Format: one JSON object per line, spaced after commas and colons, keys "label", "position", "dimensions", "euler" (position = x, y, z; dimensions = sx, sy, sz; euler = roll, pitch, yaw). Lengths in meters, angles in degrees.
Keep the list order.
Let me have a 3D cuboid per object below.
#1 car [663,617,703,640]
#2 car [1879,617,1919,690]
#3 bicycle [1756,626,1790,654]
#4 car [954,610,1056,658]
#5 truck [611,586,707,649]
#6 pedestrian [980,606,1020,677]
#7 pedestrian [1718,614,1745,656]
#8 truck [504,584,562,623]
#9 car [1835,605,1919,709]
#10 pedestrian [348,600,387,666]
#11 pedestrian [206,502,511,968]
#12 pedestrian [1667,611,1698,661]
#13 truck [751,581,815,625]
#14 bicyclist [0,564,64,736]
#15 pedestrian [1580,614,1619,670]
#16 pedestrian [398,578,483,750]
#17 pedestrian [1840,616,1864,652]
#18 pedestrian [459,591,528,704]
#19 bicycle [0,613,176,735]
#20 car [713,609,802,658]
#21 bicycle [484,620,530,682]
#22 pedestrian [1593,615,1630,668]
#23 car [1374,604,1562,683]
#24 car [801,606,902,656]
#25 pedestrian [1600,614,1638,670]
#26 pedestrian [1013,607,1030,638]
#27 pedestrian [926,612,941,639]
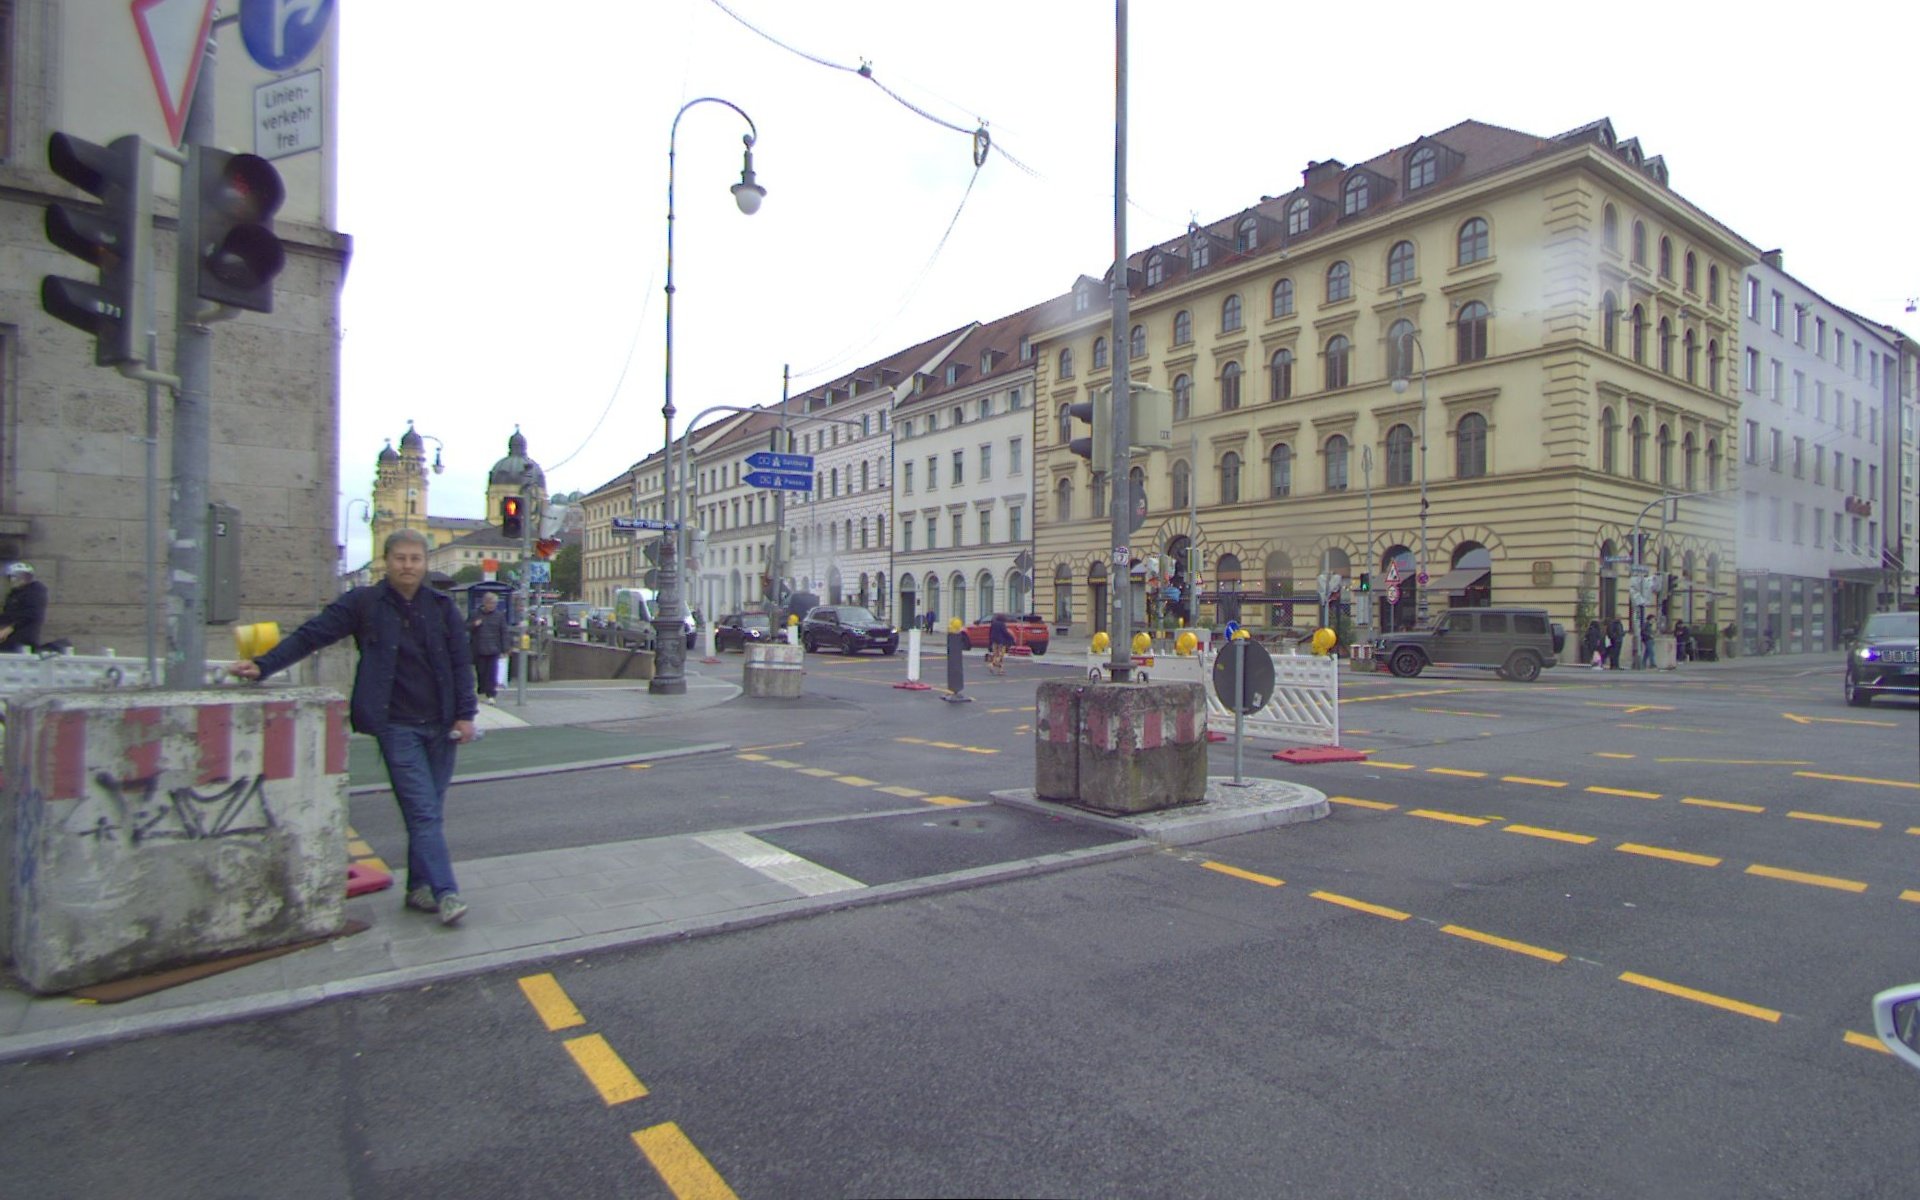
{"label": "car", "position": [-21.729, 2.196, 78.768], "dimensions": [1.805, 1.743, 3.960], "euler": [1, -1, -35]}
{"label": "car", "position": [24.309, 1.261, 23.959], "dimensions": [4.167, 1.700, 1.791], "euler": [1, -1, -19]}
{"label": "bicycle", "position": [37.899, 1.869, 46.810], "dimensions": [2.176, 1.259, 0.594], "euler": [1, 1, -34]}
{"label": "car", "position": [1.709, 1.293, 39.181], "dimensions": [1.808, 1.743, 3.954], "euler": [1, -1, -40]}
{"label": "truck", "position": [-12.928, 0.711, 42.821], "dimensions": [2.097, 2.513, 5.799], "euler": [1, 0, -36]}
{"label": "pedestrian", "position": [1.046, 1.074, 26.261], "dimensions": [0.728, 1.795, 0.733], "euler": [1, 1, -32]}
{"label": "pedestrian", "position": [33.787, 1.531, 44.006], "dimensions": [0.729, 1.795, 0.731], "euler": [0, 1, -36]}
{"label": "truck", "position": [-35.057, 0.220, 82.336], "dimensions": [2.961, 3.053, 7.074], "euler": [1, 1, -35]}
{"label": "car", "position": [17.830, 0.991, 18.551], "dimensions": [4.550, 1.757, 1.977], "euler": [1, -1, -42]}
{"label": "pedestrian", "position": [-15.358, 0.851, 26.038], "dimensions": [0.731, 1.676, 0.720], "euler": [4, -2, -34]}
{"label": "pedestrian", "position": [-2.582, 0.518, 4.363], "dimensions": [0.507, 1.766, 1.037], "euler": [1, 0, 44]}
{"label": "pedestrian", "position": [26.770, 1.333, 37.211], "dimensions": [0.729, 1.795, 0.731], "euler": [0, 1, -36]}
{"label": "truck", "position": [-11.287, 0.213, 63.760], "dimensions": [2.200, 2.698, 4.736], "euler": [1, -1, -35]}
{"label": "bicyclist", "position": [-10.227, 0.518, 10.849], "dimensions": [0.681, 1.799, 0.794], "euler": [1, 1, -32]}
{"label": "pedestrian", "position": [20.907, 1.354, 32.855], "dimensions": [0.748, 1.795, 0.734], "euler": [1, 1, -15]}
{"label": "pedestrian", "position": [-5.693, 0.664, 10.994], "dimensions": [0.731, 1.795, 0.838], "euler": [1, 1, -34]}
{"label": "pedestrian", "position": [44.868, 1.692, 50.549], "dimensions": [0.729, 1.795, 0.731], "euler": [0, 1, -36]}
{"label": "pedestrian", "position": [-7.166, 0.723, 15.418], "dimensions": [0.733, 1.676, 0.719], "euler": [4, -2, -38]}
{"label": "bicycle", "position": [-10.018, 0.785, 10.990], "dimensions": [2.174, 1.259, 0.782], "euler": [1, 1, -32]}
{"label": "car", "position": [-7.655, 1.206, 37.697], "dimensions": [1.784, 1.615, 3.958], "euler": [1, 1, -36]}
{"label": "bicycle", "position": [-10.032, 1.101, 22.206], "dimensions": [0.378, 1.259, 1.965], "euler": [0, 1, -41]}
{"label": "pedestrian", "position": [22.490, 1.428, 34.696], "dimensions": [0.724, 1.795, 0.737], "euler": [1, 1, -15]}
{"label": "car", "position": [14.075, 1.161, 28.136], "dimensions": [4.360, 2.040, 2.246], "euler": [0, 0, 16]}
{"label": "car", "position": [-3.974, 1.069, 36.400], "dimensions": [1.980, 1.706, 3.960], "euler": [1, -1, -35]}
{"label": "pedestrian", "position": [21.661, 1.364, 33.017], "dimensions": [0.727, 1.795, 0.734], "euler": [1, 1, -15]}
{"label": "pedestrian", "position": [3.640, 1.313, 59.314], "dimensions": [0.732, 1.795, 0.729], "euler": [1, 0, -36]}
{"label": "pedestrian", "position": [-1.737, 1.671, 65.964], "dimensions": [0.732, 1.795, 0.729], "euler": [1, 0, -36]}
